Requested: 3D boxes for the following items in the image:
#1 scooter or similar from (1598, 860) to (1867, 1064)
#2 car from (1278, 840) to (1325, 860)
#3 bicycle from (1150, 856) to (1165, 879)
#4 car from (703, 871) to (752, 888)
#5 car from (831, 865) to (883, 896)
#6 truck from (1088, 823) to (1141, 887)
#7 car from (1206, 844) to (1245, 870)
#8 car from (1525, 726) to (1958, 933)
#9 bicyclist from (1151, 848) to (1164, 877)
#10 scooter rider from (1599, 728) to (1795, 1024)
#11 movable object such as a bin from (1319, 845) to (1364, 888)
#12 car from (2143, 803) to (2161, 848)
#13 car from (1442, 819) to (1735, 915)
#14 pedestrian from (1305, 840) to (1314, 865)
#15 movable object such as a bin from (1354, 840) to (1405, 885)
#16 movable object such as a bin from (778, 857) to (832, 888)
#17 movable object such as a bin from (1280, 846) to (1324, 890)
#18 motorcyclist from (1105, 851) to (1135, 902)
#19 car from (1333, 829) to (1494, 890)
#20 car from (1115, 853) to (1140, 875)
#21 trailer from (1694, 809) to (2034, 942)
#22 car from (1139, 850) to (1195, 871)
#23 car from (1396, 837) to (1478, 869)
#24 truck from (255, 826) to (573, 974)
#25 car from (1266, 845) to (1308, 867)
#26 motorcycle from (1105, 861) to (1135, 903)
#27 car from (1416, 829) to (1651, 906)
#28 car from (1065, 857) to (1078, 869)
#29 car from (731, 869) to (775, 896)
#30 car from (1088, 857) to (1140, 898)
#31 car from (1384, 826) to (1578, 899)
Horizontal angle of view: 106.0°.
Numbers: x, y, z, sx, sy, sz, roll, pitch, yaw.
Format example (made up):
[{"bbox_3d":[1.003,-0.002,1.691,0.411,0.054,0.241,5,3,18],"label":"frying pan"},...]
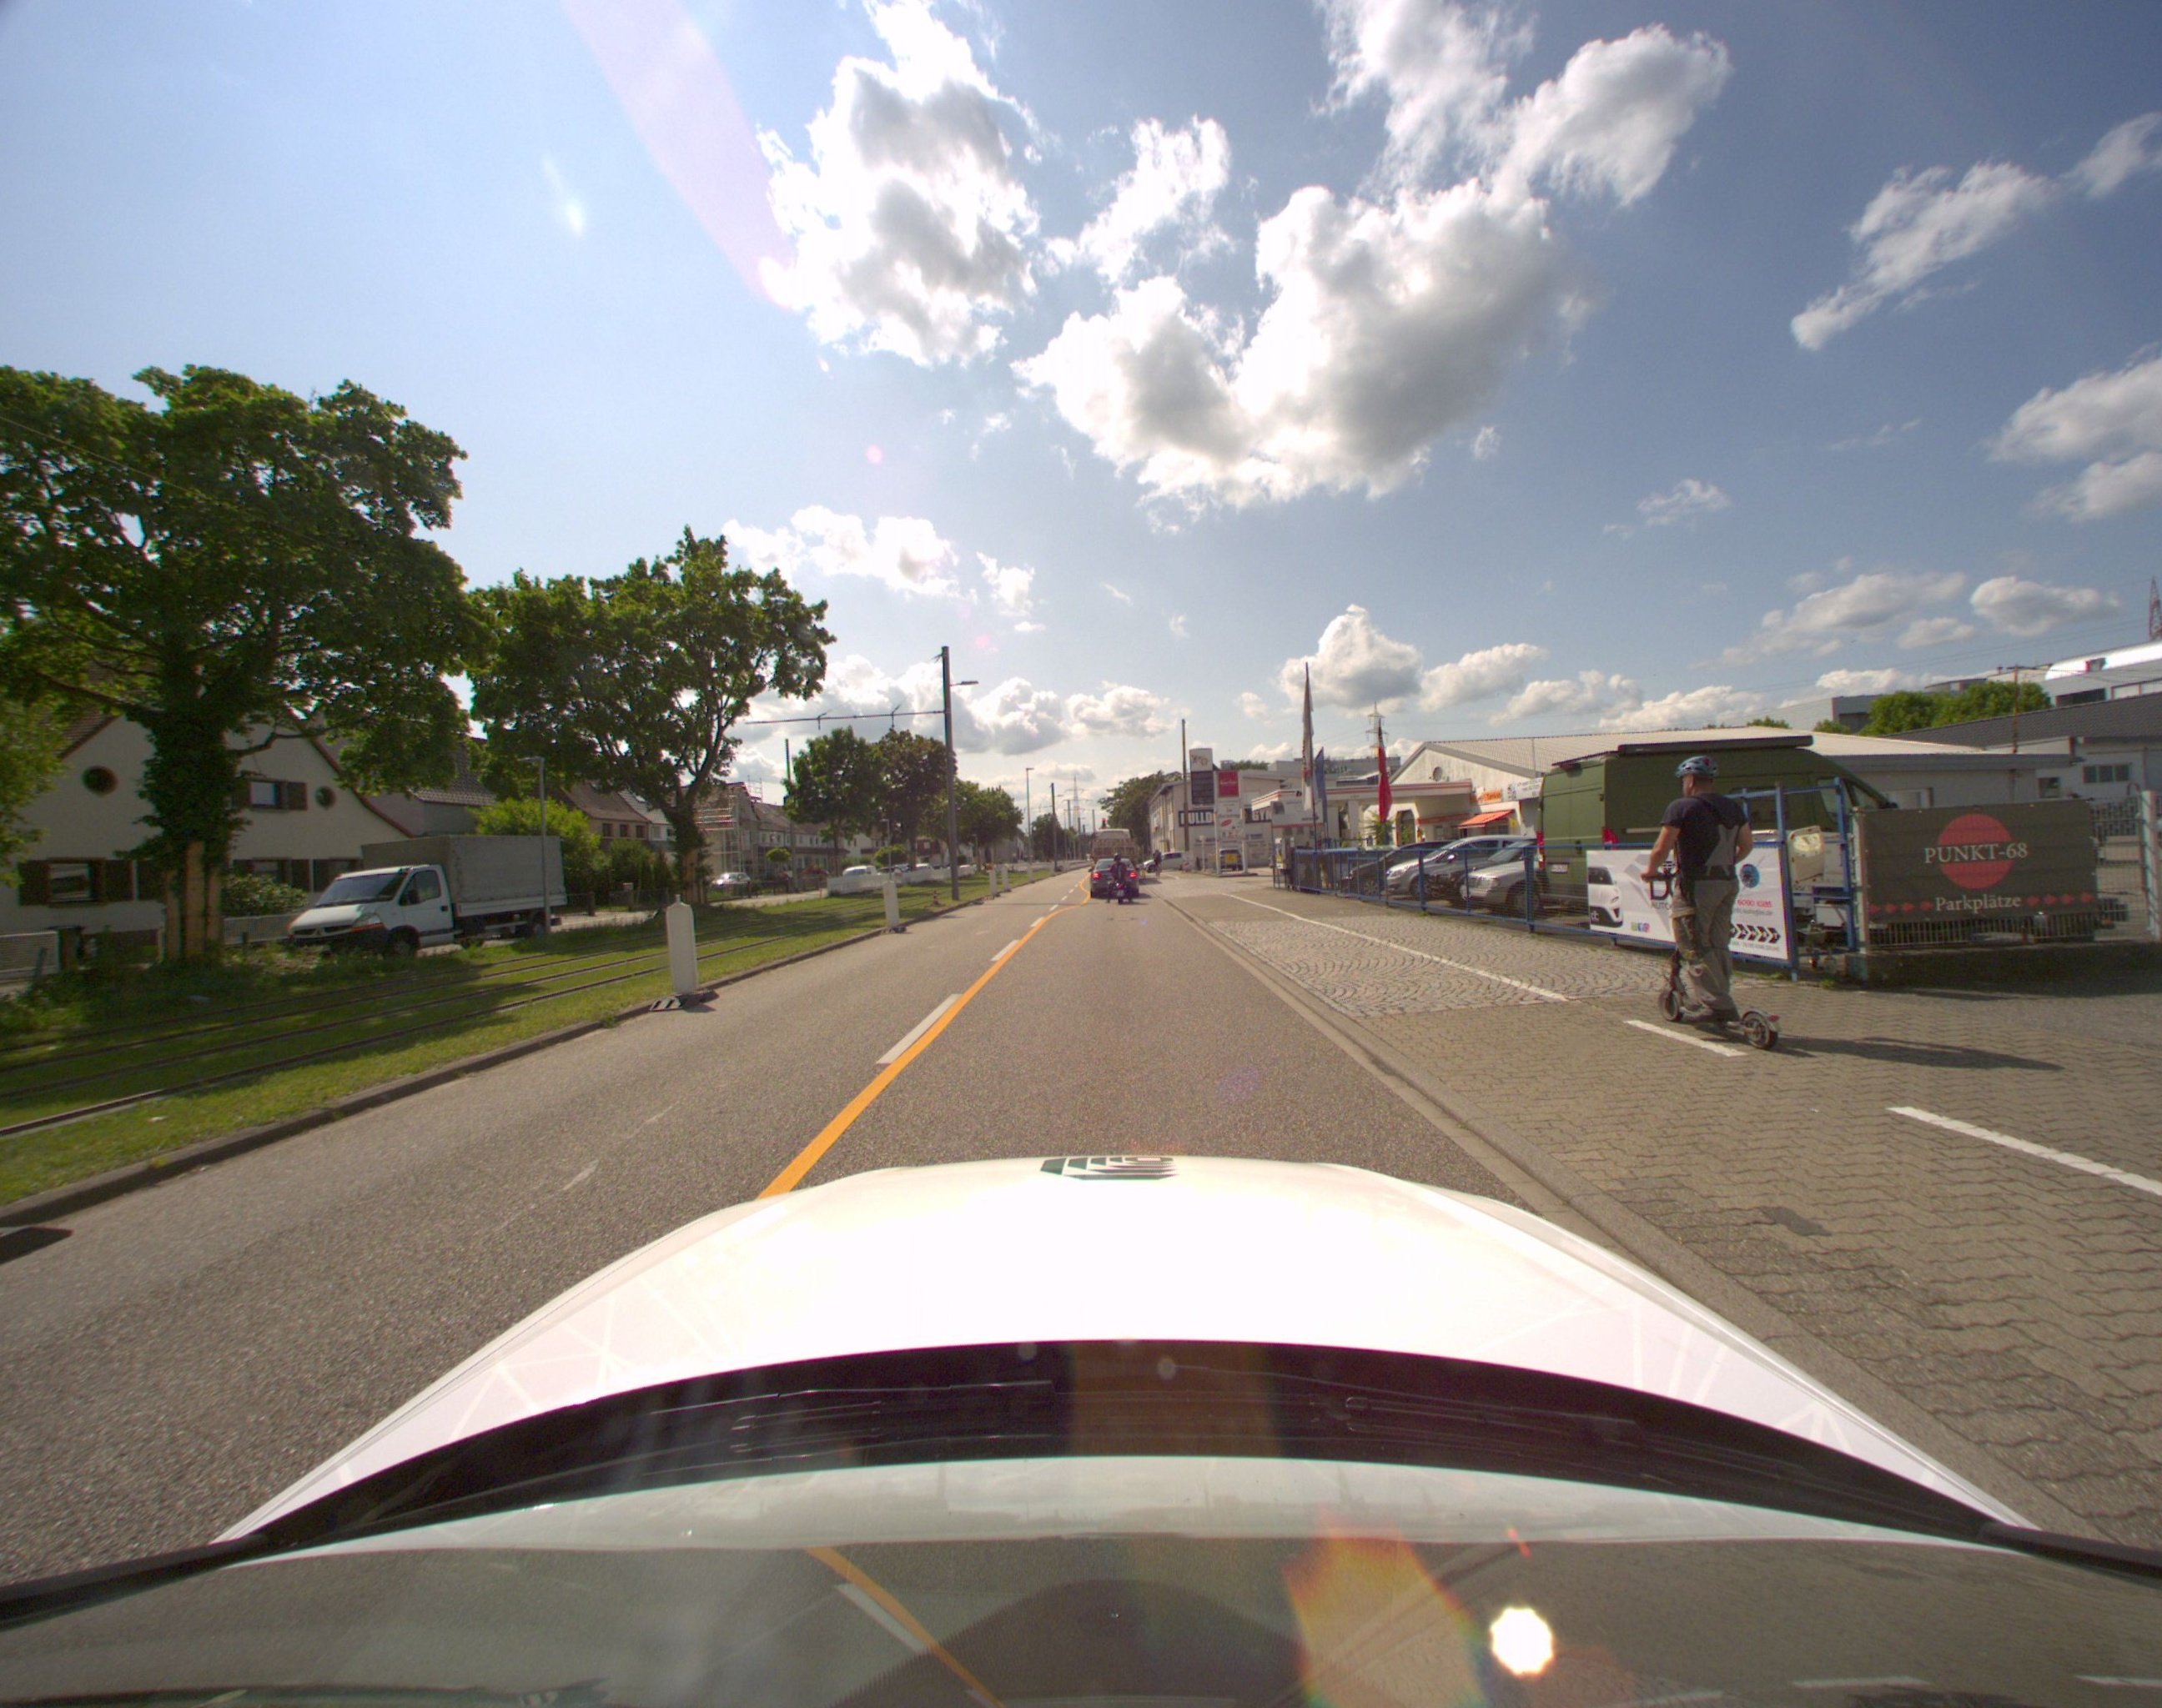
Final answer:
[{"bbox_3d":[4.455,0.664,5.734,0.538,1.195,1.611,-5,-1,2],"label":"scooter or similar"},{"bbox_3d":[21.165,-0.402,78.294,3.973,1.648,1.966,-4,-1,1],"label":"car"},{"bbox_3d":[4.760,0.800,50.604,0.690,1.361,2.419,-3,0,2],"label":"bicycle"},{"bbox_3d":[-26.264,1.876,60.615,1.677,1.052,3.984,-4,-1,4],"label":"car"},{"bbox_3d":[-14.276,1.669,52.202,1.986,1.750,4.002,-4,-1,2],"label":"car"},{"bbox_3d":[1.991,-0.013,47.944,2.600,3.255,9.189,-4,1,3],"label":"truck"},{"bbox_3d":[10.287,0.242,58.191,1.953,1.648,3.999,-4,-1,0],"label":"car"},{"bbox_3d":[9.541,-0.315,12.160,4.517,2.573,2.153,-3,-1,3],"label":"car"},{"bbox_3d":[4.740,0.519,50.362,0.669,1.744,0.814,-3,0,1],"label":"bicyclist"},{"bbox_3d":[4.449,0.143,5.943,0.714,1.963,0.786,-5,1,2],"label":"scooter rider"},{"bbox_3d":[9.188,0.438,28.720,1.251,1.444,0.824,-4,-1,2],"label":"movable object such as a bin"},{"bbox_3d":[34.223,-0.972,23.391,1.915,1.388,4.181,-4,-1,1],"label":"car"},{"bbox_3d":[9.130,0.246,15.009,4.159,1.431,1.825,-3,-1,8],"label":"car"},{"bbox_3d":[15.997,-0.115,56.944,0.395,1.689,0.486,-4,-1,3],"label":"pedestrian"},{"bbox_3d":[10.495,0.301,28.650,1.318,1.444,0.953,-4,-1,-5],"label":"movable object such as a bin"},{"bbox_3d":[-24.729,1.627,73.002,4.351,2.449,1.777,-3,0,-20],"label":"movable object such as a bin"},{"bbox_3d":[7.821,0.491,28.866,1.251,1.444,0.824,-4,-1,2],"label":"movable object such as a bin"},{"bbox_3d":[1.279,0.735,26.948,0.936,1.615,1.205,-1,-1,2],"label":"motorcyclist"},{"bbox_3d":[9.169,0.169,22.716,3.954,1.443,1.719,-3,-1,19],"label":"car"},{"bbox_3d":[3.451,0.728,60.770,1.814,1.464,4.003,-2,0,2],"label":"car"},{"bbox_3d":[9.413,0.252,9.941,2.771,1.333,1.303,-4,-1,2],"label":"trailer"},{"bbox_3d":[7.221,0.567,68.928,4.325,1.551,1.945,-4,-1,-7],"label":"car"},{"bbox_3d":[17.584,-0.040,40.280,3.308,1.360,1.612,-4,-1,2],"label":"car"},{"bbox_3d":[-15.240,0.905,19.355,1.986,2.767,6.279,-6,0,2],"label":"truck"},{"bbox_3d":[14.810,0.159,58.790,1.953,1.420,3.999,-4,-1,0],"label":"car"},{"bbox_3d":[1.285,0.890,27.127,0.936,1.320,2.646,-1,-1,2],"label":"motorcycle"},{"bbox_3d":[9.486,0.295,17.393,3.962,1.356,1.825,-3,-1,10],"label":"car"},{"bbox_3d":[-1.337,1.228,112.471,1.649,1.447,4.302,-4,0,0],"label":"car"},{"bbox_3d":[-23.141,1.988,57.579,1.678,1.722,3.031,-4,-1,2],"label":"car"},{"bbox_3d":[1.279,0.858,31.606,1.815,1.424,4.002,-2,0,2],"label":"car"},{"bbox_3d":[9.596,0.219,19.880,3.956,1.496,1.758,-3,-1,17],"label":"car"}]
